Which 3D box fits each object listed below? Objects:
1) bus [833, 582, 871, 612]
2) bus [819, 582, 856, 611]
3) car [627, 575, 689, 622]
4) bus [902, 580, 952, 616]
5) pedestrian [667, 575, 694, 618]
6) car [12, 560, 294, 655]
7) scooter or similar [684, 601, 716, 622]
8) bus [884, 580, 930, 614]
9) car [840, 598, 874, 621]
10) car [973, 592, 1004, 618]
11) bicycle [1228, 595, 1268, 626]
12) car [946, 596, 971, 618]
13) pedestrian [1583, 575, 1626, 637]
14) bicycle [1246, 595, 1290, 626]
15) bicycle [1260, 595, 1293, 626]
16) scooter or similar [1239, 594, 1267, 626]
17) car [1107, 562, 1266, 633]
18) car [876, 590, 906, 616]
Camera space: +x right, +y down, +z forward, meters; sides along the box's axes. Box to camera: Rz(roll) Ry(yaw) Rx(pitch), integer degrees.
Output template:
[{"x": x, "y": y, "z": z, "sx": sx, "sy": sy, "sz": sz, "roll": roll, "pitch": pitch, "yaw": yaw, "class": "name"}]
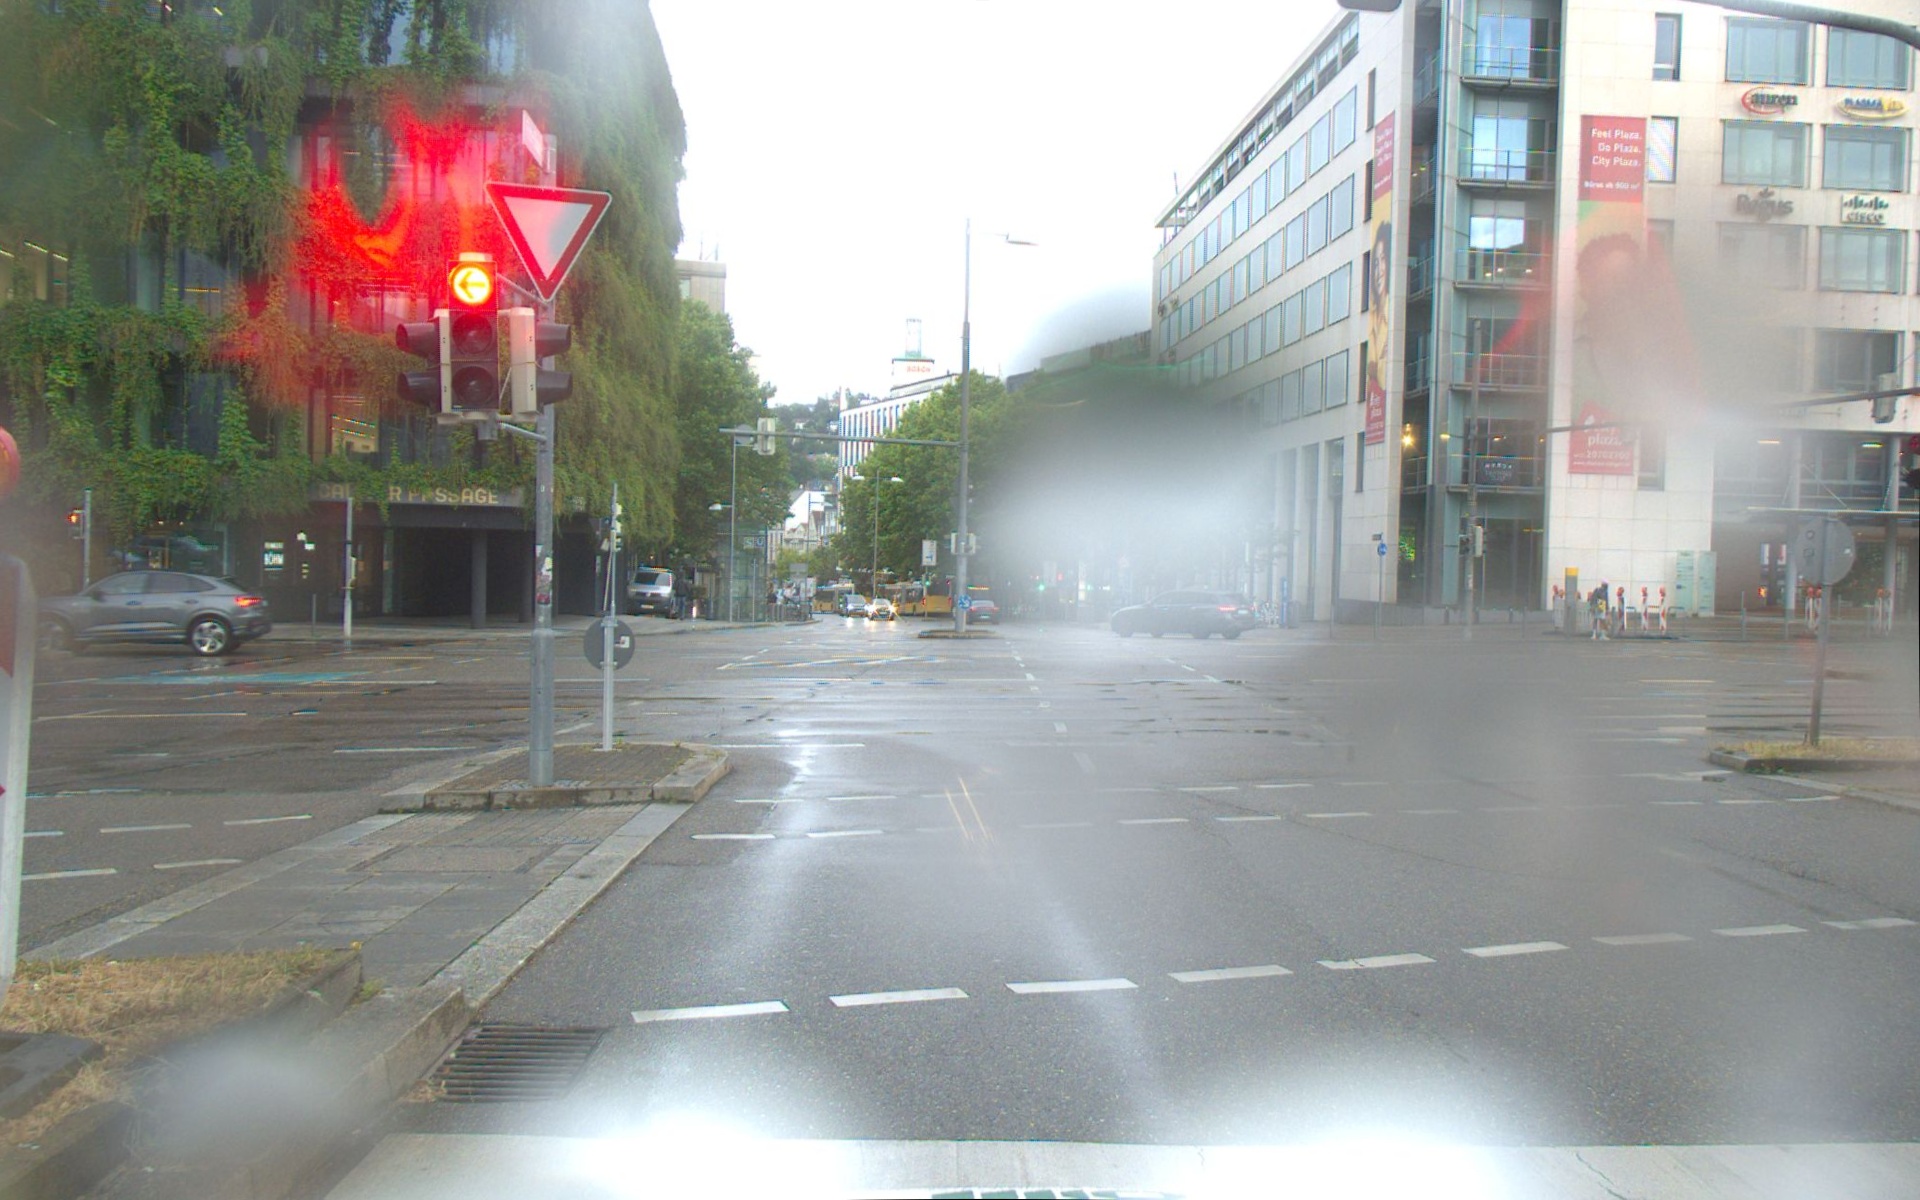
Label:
[{"x": -11.344, "y": -0.303, "z": 173.058, "sx": 2.585, "sy": 3.048, "sz": 7.296, "roll": 0, "pitch": 0, "yaw": -16, "class": "bus"}, {"x": -13.341, "y": -0.388, "z": 180.125, "sx": 2.585, "sy": 3.048, "sz": 7.417, "roll": 0, "pitch": 0, "yaw": -16, "class": "bus"}, {"x": -12.388, "y": -0.046, "z": 68.135, "sx": 1.832, "sy": 1.871, "sz": 3.999, "roll": 1, "pitch": 0, "yaw": -1, "class": "car"}, {"x": -2.971, "y": -0.220, "z": 145.893, "sx": 2.585, "sy": 3.048, "sz": 7.417, "roll": 0, "pitch": 0, "yaw": -16, "class": "bus"}, {"x": -10.970, "y": -0.144, "z": 64.873, "sx": 0.915, "sy": 1.673, "sz": 0.774, "roll": 1, "pitch": -1, "yaw": -1, "class": "pedestrian"}, {"x": -14.845, "y": 0.155, "z": 30.691, "sx": 4.402, "sy": 1.637, "sz": 1.823, "roll": 1, "pitch": 0, "yaw": -17, "class": "car"}, {"x": -12.934, "y": 0.546, "z": 82.335, "sx": 0.612, "sy": 1.022, "sz": 1.653, "roll": 1, "pitch": 0, "yaw": 37, "class": "scooter or similar"}, {"x": -4.967, "y": -0.276, "z": 153.009, "sx": 2.585, "sy": 3.048, "sz": 7.417, "roll": 0, "pitch": 0, "yaw": -16, "class": "bus"}, {"x": -8.409, "y": 0.742, "z": 134.520, "sx": 2.125, "sy": 1.796, "sz": 4.817, "roll": -1, "pitch": 0, "yaw": -11, "class": "car"}, {"x": 1.702, "y": 0.317, "z": 100.682, "sx": 1.745, "sy": 1.534, "sz": 3.999, "roll": 1, "pitch": 0, "yaw": -1, "class": "car"}, {"x": 11.585, "y": 0.406, "z": 66.559, "sx": 0.578, "sy": 1.215, "sz": 1.766, "roll": 1, "pitch": 0, "yaw": -28, "class": "bicycle"}, {"x": -0.125, "y": 0.493, "z": 118.421, "sx": 1.745, "sy": 1.534, "sz": 3.999, "roll": 1, "pitch": 0, "yaw": -1, "class": "car"}, {"x": 19.493, "y": 0.181, "z": 50.027, "sx": 0.942, "sy": 1.848, "sz": 0.836, "roll": 1, "pitch": -1, "yaw": -1, "class": "pedestrian"}, {"x": 12.122, "y": 0.409, "z": 65.015, "sx": 1.590, "sy": 1.215, "sz": 0.586, "roll": 1, "pitch": -1, "yaw": 25, "class": "bicycle"}, {"x": 12.860, "y": 0.430, "z": 67.135, "sx": 0.575, "sy": 1.215, "sz": 1.776, "roll": 1, "pitch": -1, "yaw": 37, "class": "bicycle"}, {"x": 11.386, "y": 0.393, "z": 64.319, "sx": 0.946, "sy": 1.215, "sz": 0.453, "roll": 1, "pitch": -1, "yaw": 40, "class": "scooter or similar"}, {"x": 6.765, "y": -0.093, "z": 49.639, "sx": 4.578, "sy": 2.049, "sz": 1.542, "roll": 1, "pitch": 0, "yaw": 38, "class": "car"}, {"x": -4.999, "y": 0.190, "z": 119.330, "sx": 2.121, "sy": 1.796, "sz": 5.109, "roll": 0, "pitch": 1, "yaw": -4, "class": "car"}]
